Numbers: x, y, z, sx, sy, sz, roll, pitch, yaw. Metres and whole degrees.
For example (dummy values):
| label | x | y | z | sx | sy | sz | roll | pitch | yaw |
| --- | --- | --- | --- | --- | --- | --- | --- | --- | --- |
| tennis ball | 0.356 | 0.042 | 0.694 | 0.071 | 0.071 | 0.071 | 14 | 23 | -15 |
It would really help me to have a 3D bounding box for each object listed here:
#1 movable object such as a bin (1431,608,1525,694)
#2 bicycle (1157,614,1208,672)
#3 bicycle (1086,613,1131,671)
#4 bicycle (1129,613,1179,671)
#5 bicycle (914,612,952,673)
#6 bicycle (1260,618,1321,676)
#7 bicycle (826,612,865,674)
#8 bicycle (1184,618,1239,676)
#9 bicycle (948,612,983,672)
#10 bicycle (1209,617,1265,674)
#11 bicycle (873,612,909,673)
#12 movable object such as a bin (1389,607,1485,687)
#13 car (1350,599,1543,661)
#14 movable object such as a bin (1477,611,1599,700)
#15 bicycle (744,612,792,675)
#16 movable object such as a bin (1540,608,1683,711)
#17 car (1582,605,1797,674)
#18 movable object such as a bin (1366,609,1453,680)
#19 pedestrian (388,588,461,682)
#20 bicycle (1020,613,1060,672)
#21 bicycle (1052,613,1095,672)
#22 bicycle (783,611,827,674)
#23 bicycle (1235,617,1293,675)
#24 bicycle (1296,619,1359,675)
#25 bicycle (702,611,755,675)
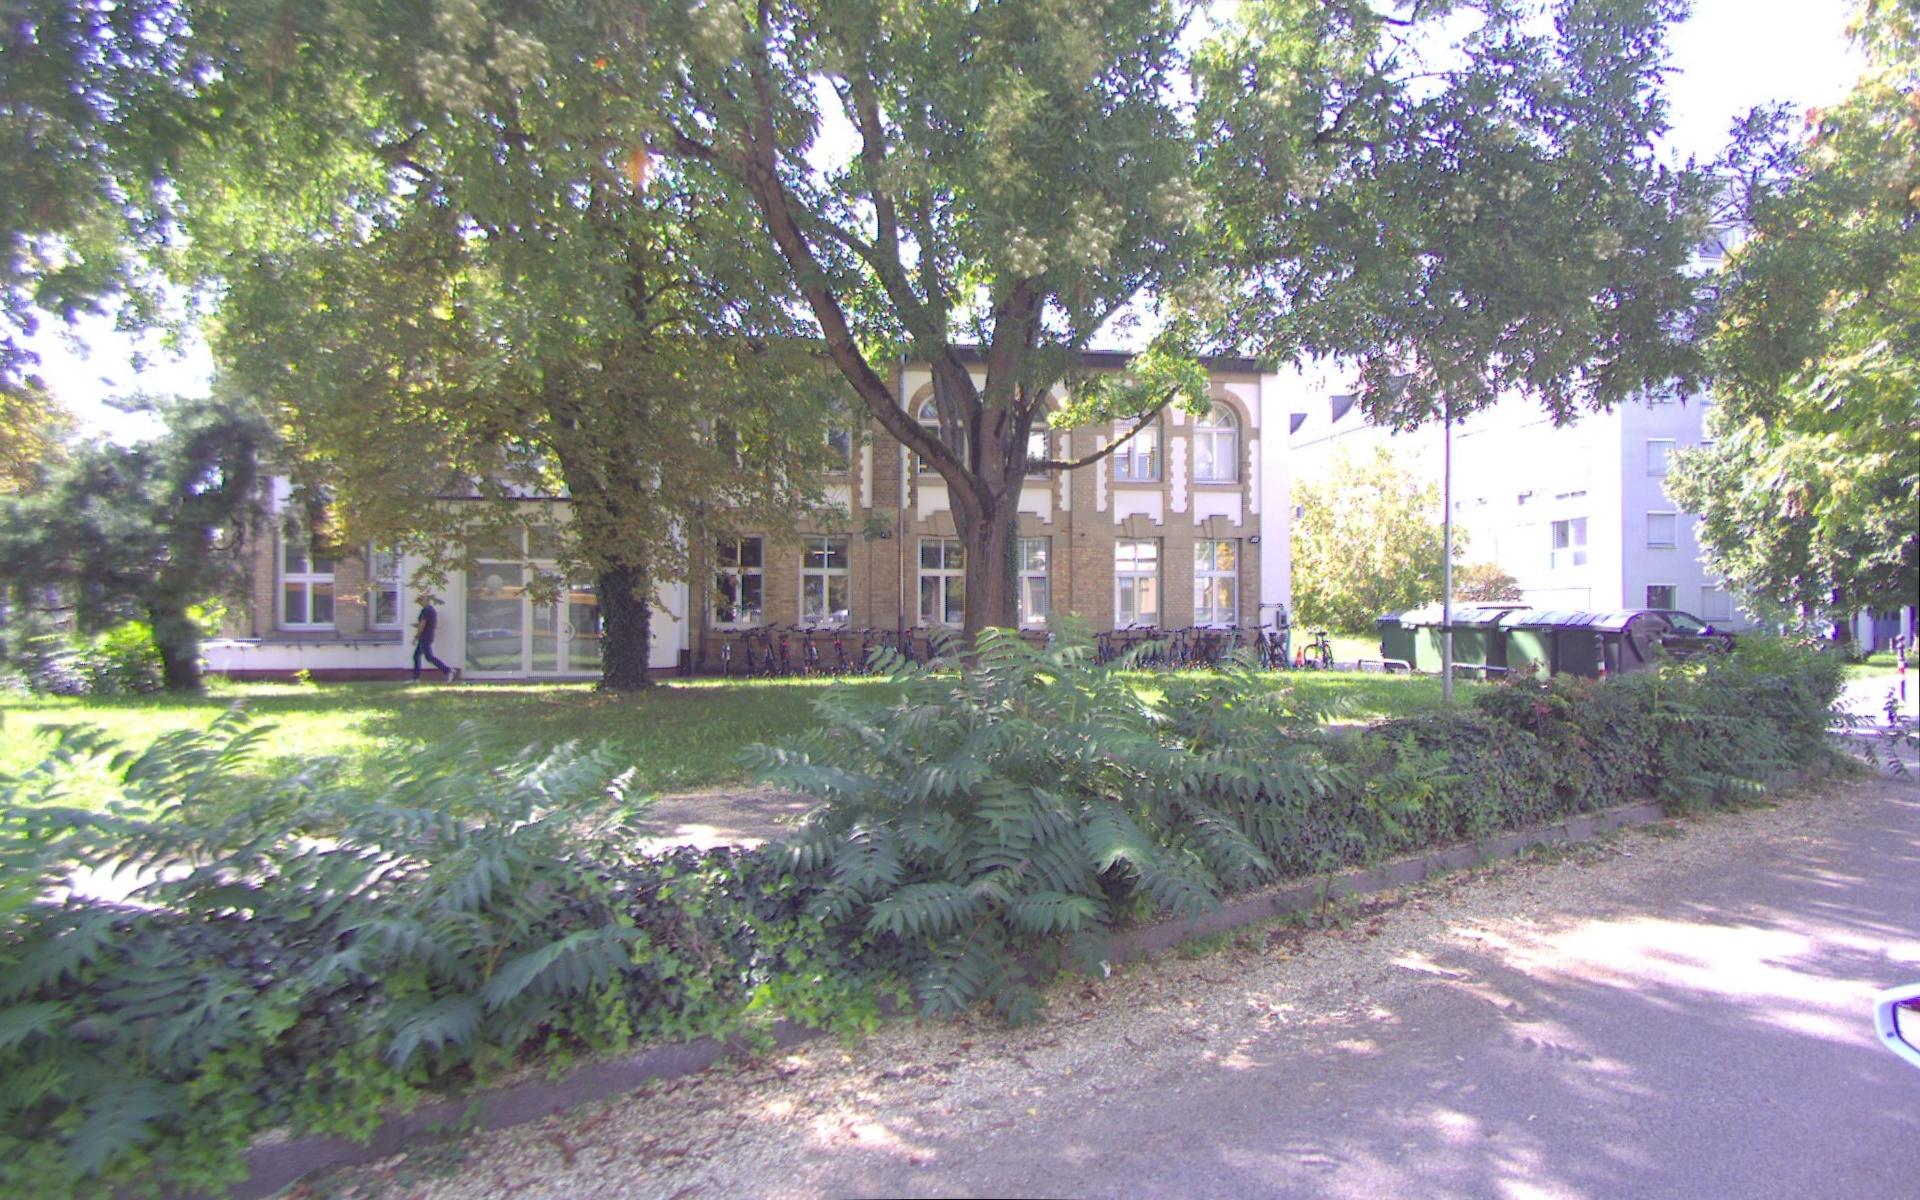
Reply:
| label | x | y | z | sx | sy | sz | roll | pitch | yaw |
| --- | --- | --- | --- | --- | --- | --- | --- | --- | --- |
| movable object such as a bin | 9.464 | 0.909 | 18.384 | 1.082 | 1.501 | 1.098 | 1 | 0 | -14 |
| bicycle | 5.288 | 1.005 | 23.980 | 0.597 | 1.320 | 2.172 | 0 | -2 | -4 |
| bicycle | 3.475 | 0.977 | 23.674 | 0.597 | 1.320 | 2.172 | 0 | -2 | -4 |
| bicycle | 4.558 | 0.982 | 23.753 | 0.597 | 1.320 | 2.172 | 0 | -2 | -4 |
| bicycle | -0.648 | 0.962 | 23.130 | 0.757 | 1.320 | 2.272 | 0 | -2 | -4 |
| bicycle | 7.962 | 1.117 | 24.279 | 0.597 | 1.320 | 2.172 | 0 | -2 | -4 |
| bicycle | -2.554 | 0.946 | 22.593 | 0.757 | 1.320 | 2.525 | 0 | -2 | -4 |
| bicycle | 5.965 | 1.101 | 23.945 | 0.597 | 1.320 | 2.172 | 0 | -2 | -4 |
| bicycle | 0.105 | 0.967 | 23.285 | 0.615 | 1.320 | 2.272 | 0 | -2 | -4 |
| bicycle | 6.623 | 1.076 | 24.122 | 0.597 | 1.320 | 2.172 | 0 | -2 | -4 |
| bicycle | -1.587 | 0.965 | 23.005 | 0.757 | 1.320 | 2.525 | 0 | -2 | -4 |
| movable object such as a bin | 9.392 | 0.904 | 19.810 | 1.228 | 1.515 | 1.203 | 1 | 0 | -14 |
| car | 15.462 | 0.950 | 32.133 | 4.988 | 1.906 | 2.500 | 0 | -1 | -6 |
| movable object such as a bin | 9.877 | 0.924 | 17.212 | 1.229 | 1.451 | 1.328 | 1 | 0 | -15 |
| bicycle | -4.196 | 0.943 | 22.140 | 0.757 | 1.320 | 2.525 | 0 | -2 | -4 |
| movable object such as a bin | 10.109 | 0.886 | 15.636 | 1.316 | 1.513 | 1.366 | 1 | 0 | -22 |
| car | 16.922 | 0.913 | 23.418 | 3.836 | 1.548 | 1.707 | 0 | -1 | -2 |
| movable object such as a bin | 9.641 | 0.936 | 21.586 | 1.228 | 1.463 | 1.203 | 1 | 0 | -14 |
| pedestrian | -10.750 | 0.688 | 20.189 | 1.110 | 1.852 | 0.735 | 0 | -1 | -9 |
| bicycle | 1.863 | 0.982 | 23.638 | 0.597 | 1.320 | 2.172 | 0 | -2 | -4 |
| bicycle | 2.631 | 0.981 | 23.540 | 0.597 | 1.320 | 2.172 | 0 | -2 | -4 |
| bicycle | -3.426 | 0.927 | 22.378 | 0.757 | 1.320 | 2.525 | 0 | -2 | -4 |
| bicycle | 7.294 | 1.089 | 24.208 | 0.597 | 1.320 | 2.172 | 0 | -2 | -4 |
| bicycle | 8.922 | 1.126 | 24.495 | 0.597 | 1.320 | 2.172 | 0 | -2 | -4 |
| bicycle | -5.076 | 0.932 | 22.189 | 0.757 | 1.320 | 2.525 | 0 | -2 | -4 |
